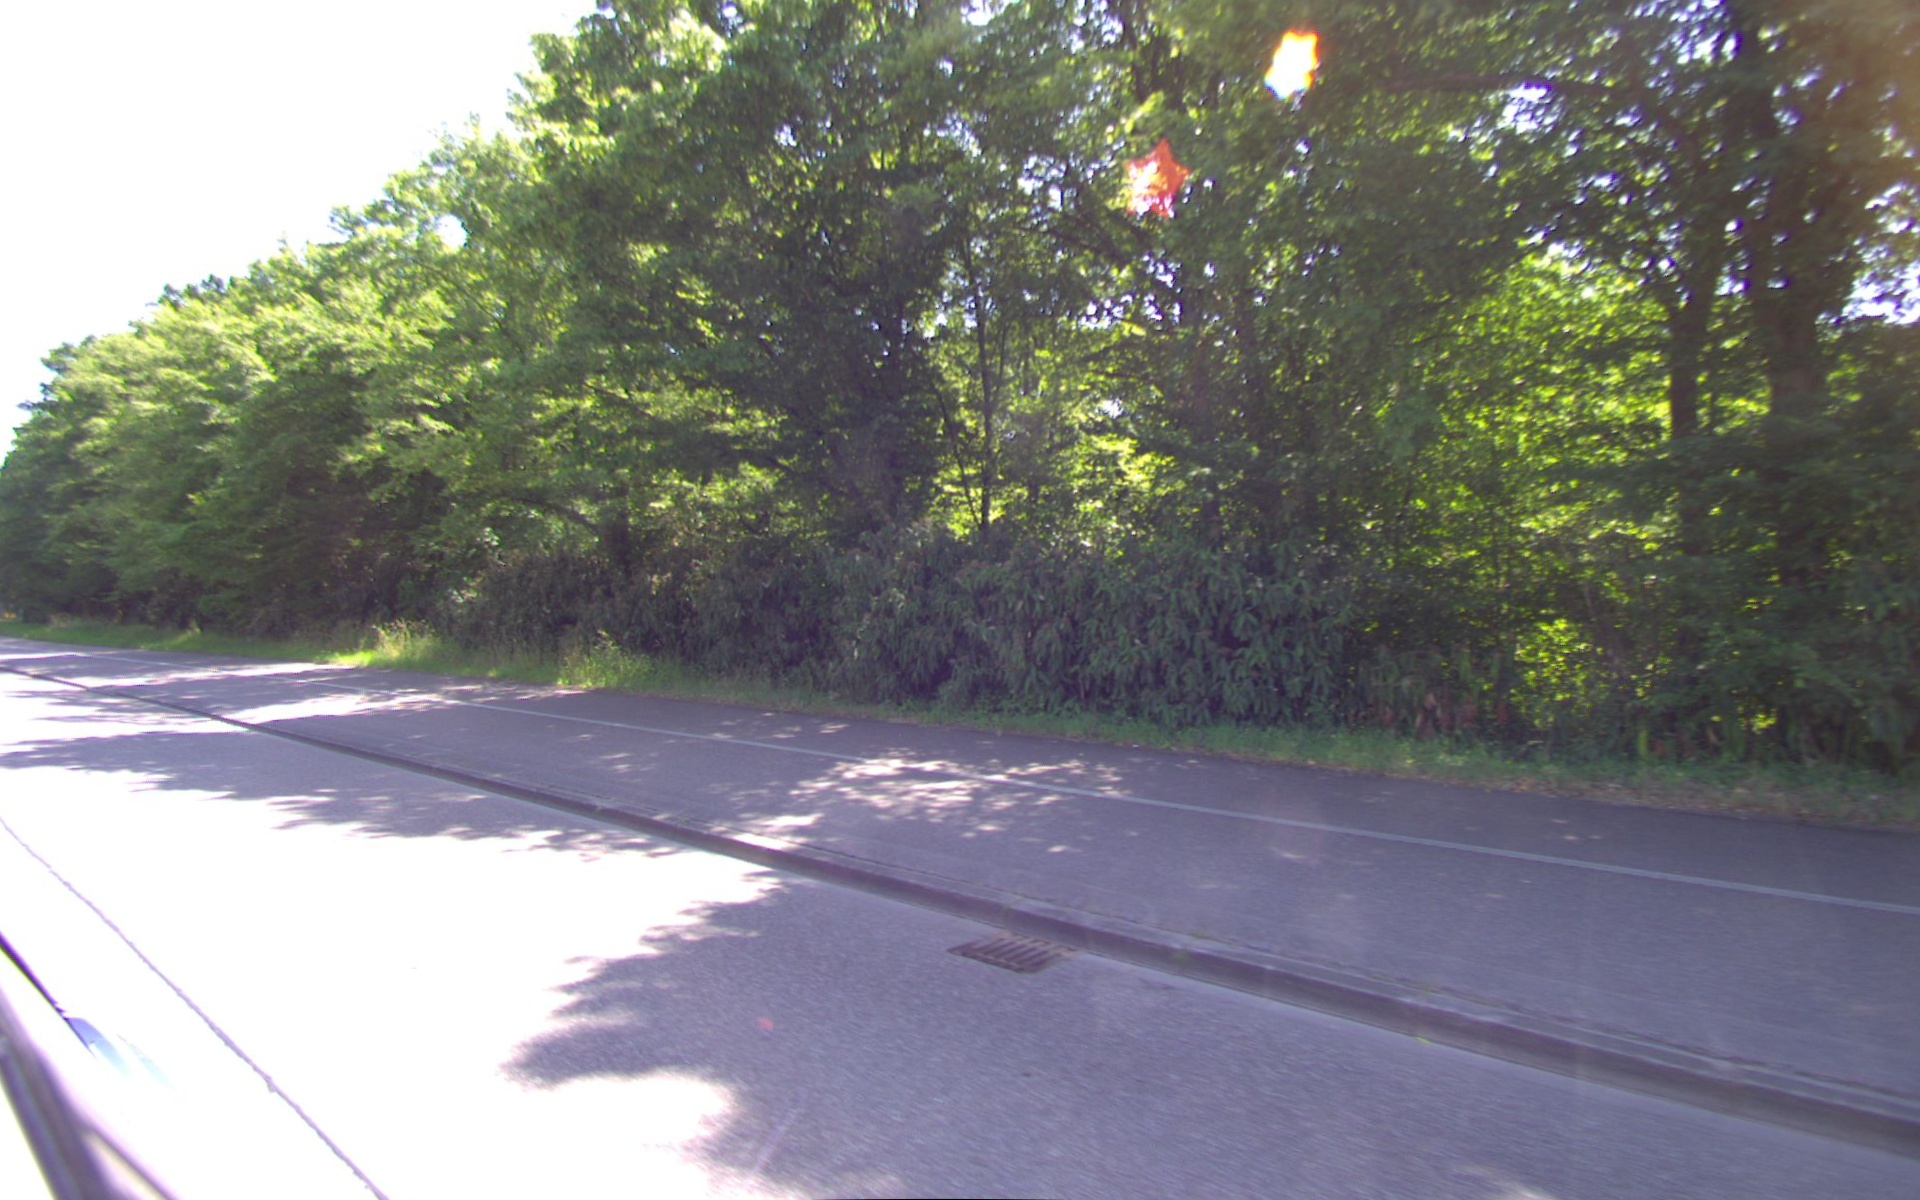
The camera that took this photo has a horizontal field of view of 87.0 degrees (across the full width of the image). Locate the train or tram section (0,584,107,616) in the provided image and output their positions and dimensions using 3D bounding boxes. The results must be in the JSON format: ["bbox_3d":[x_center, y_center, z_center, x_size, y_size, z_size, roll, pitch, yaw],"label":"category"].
[{"bbox_3d":[-101.163,-0.008,112.623,9.190,3.492,2.792,0,0,-20],"label":"train or tram section"}]

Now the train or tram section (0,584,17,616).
[{"bbox_3d":[-110.098,0.042,111.513,10.720,3.492,2.646,0,0,6],"label":"train or tram section"}]
